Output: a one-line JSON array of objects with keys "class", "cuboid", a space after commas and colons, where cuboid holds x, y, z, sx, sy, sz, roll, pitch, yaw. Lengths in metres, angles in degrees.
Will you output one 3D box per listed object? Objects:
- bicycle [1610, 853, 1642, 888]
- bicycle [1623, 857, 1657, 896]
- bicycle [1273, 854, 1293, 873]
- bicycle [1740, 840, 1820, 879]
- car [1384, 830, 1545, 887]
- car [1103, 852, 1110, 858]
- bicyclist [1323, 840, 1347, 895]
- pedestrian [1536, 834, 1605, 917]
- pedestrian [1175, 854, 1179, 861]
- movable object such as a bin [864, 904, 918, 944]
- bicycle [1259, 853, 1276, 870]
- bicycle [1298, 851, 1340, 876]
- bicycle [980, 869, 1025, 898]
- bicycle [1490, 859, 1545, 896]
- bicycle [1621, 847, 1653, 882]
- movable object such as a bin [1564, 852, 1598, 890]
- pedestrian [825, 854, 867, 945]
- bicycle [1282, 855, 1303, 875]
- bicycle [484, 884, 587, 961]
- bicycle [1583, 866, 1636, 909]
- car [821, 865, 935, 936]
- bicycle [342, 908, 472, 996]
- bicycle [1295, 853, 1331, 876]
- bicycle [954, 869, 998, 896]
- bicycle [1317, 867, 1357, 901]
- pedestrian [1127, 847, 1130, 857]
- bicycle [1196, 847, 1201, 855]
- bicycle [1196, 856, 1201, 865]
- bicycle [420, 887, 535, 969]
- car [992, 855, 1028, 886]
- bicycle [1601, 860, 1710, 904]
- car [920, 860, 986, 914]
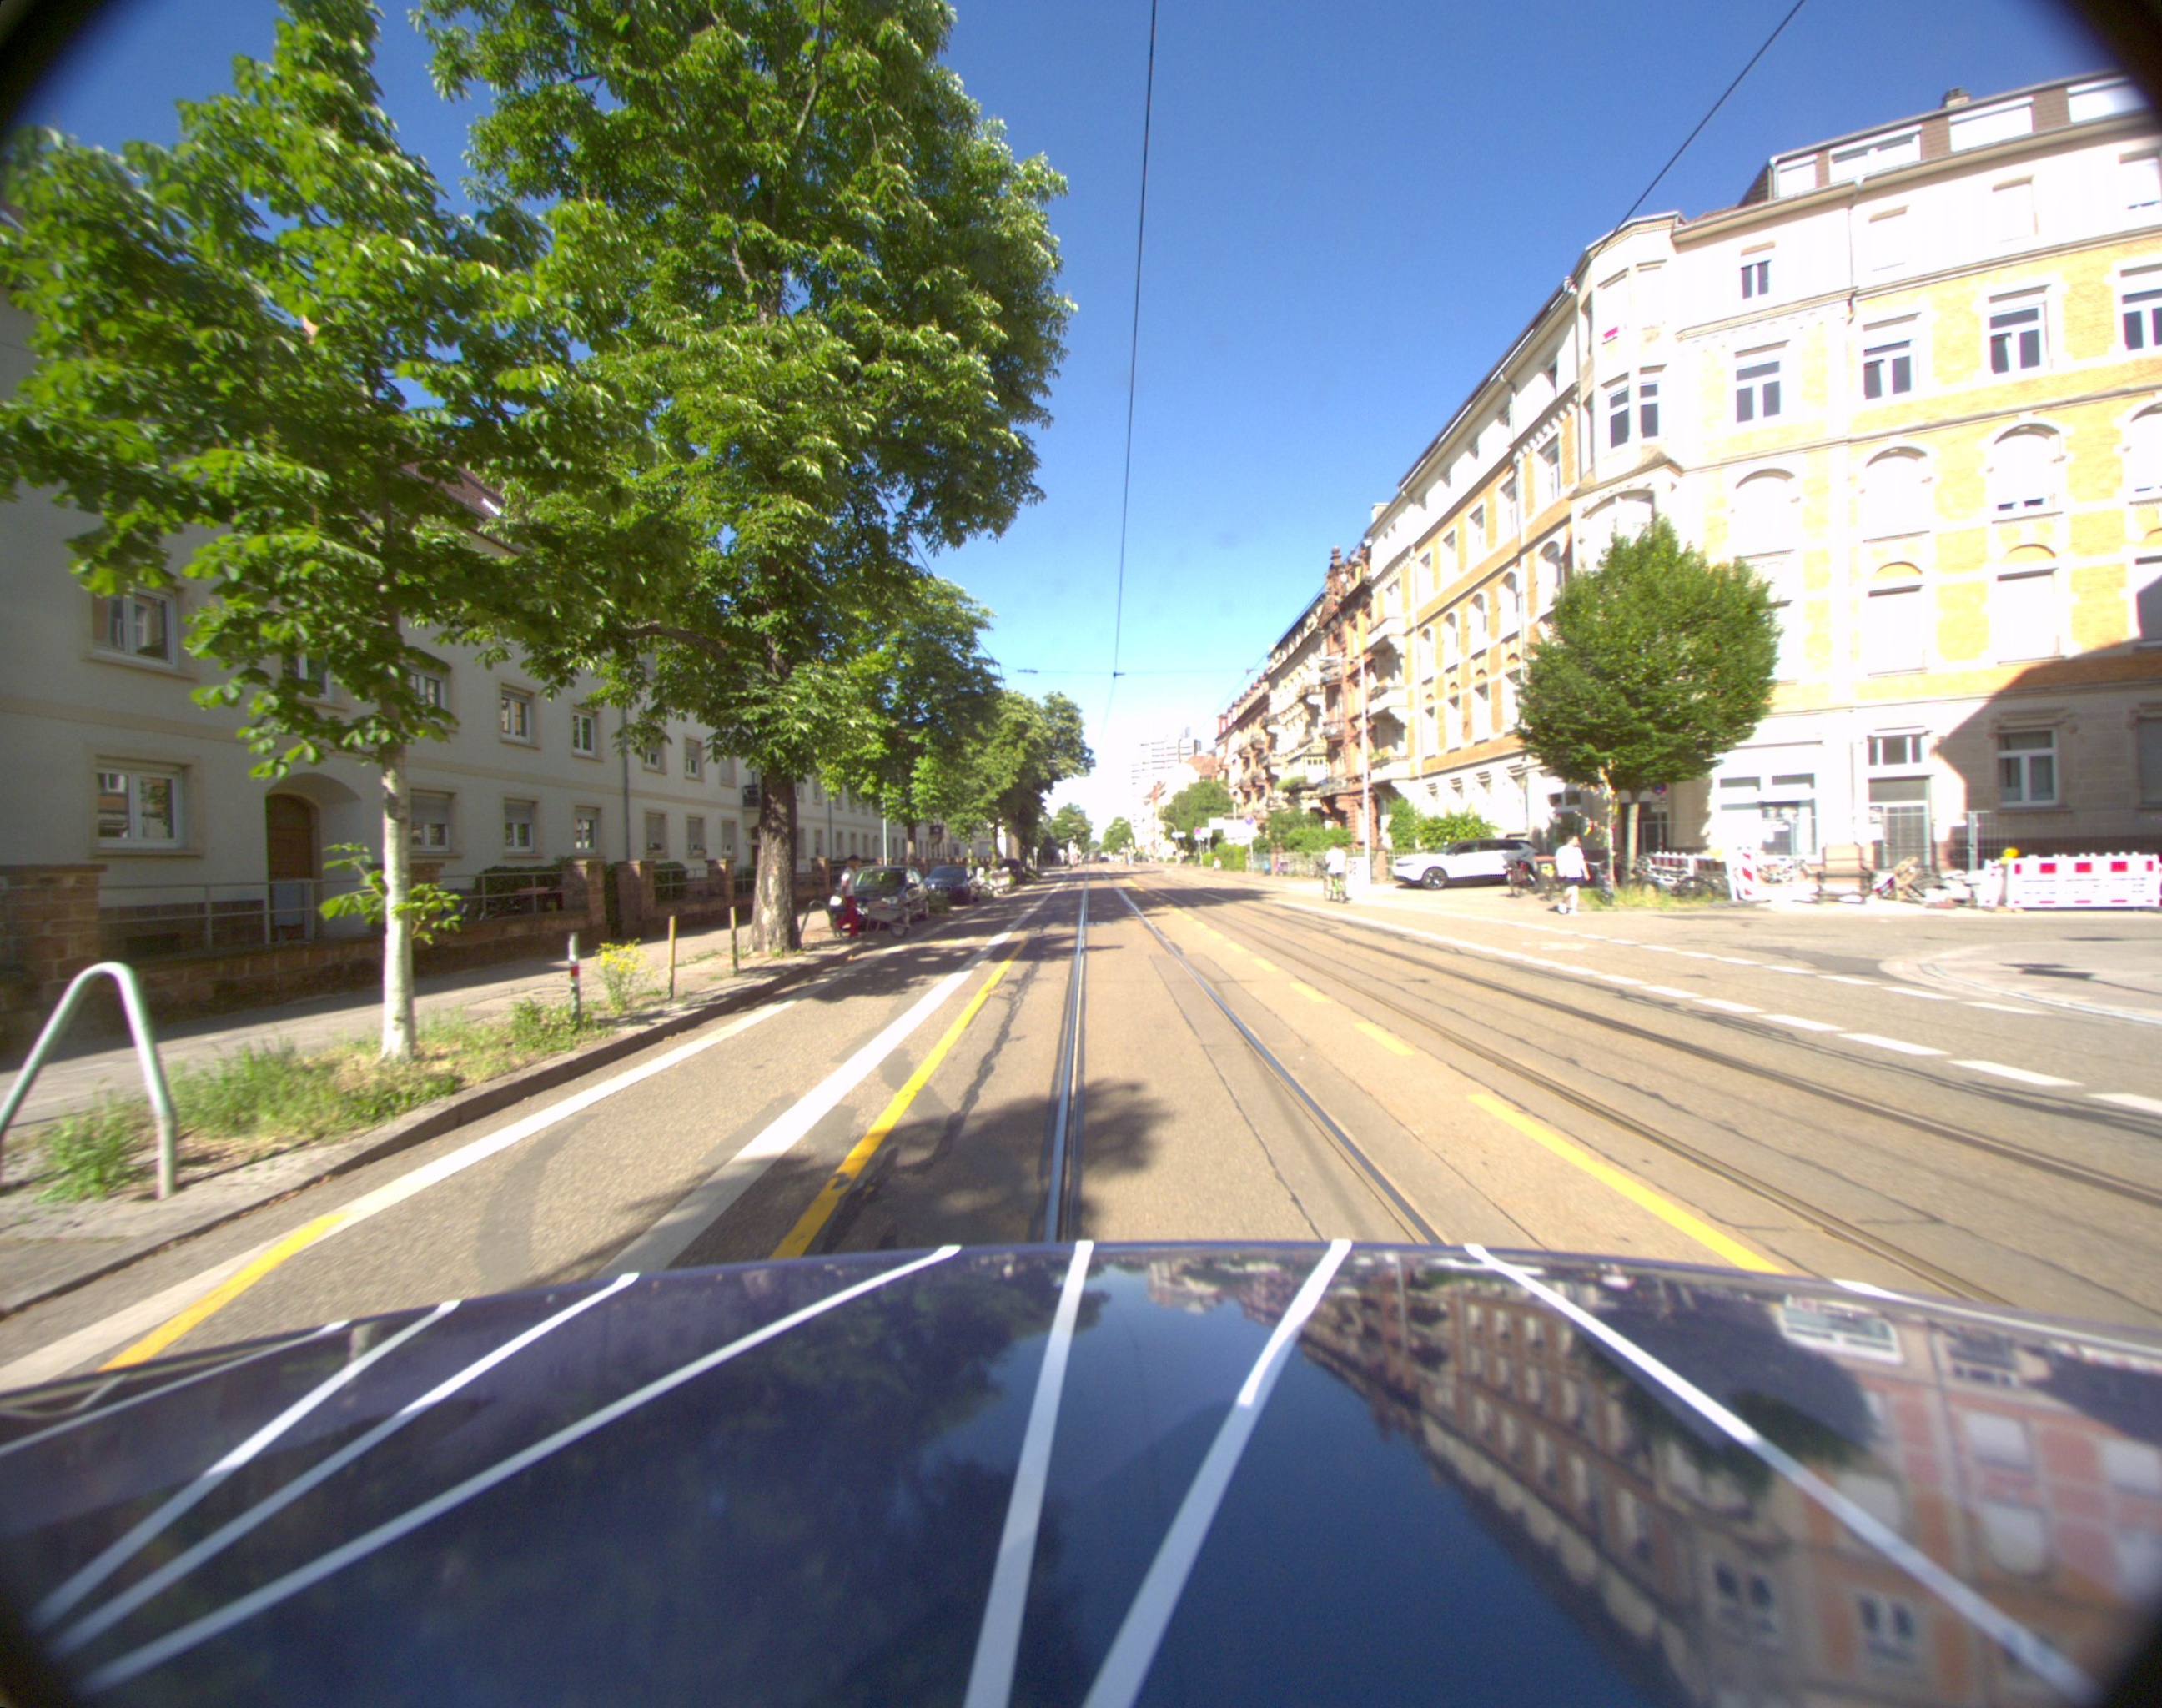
[{"class": "bicycle", "cuboid": [15.750, 0.463, 21.961, 1.545, 0.909, 0.246, -4, 3, -35]}, {"class": "bicycle", "cuboid": [14.292, 0.560, 19.416, 0.619, 0.909, 1.297, -1, 3, 39]}, {"class": "bicycle", "cuboid": [11.283, 0.535, 42.443, 0.564, 1.027, 1.767, -4, 0, 0]}, {"class": "bicycle", "cuboid": [20.133, 0.169, 21.920, 1.600, 1.031, 0.407, -3, -1, 25]}, {"class": "car", "cuboid": [13.071, 0.144, 26.103, 4.456, 1.634, 1.967, -3, 1, 3]}, {"class": "car", "cuboid": [7.507, 0.270, 221.566, 1.902, 1.608, 4.264, 0, 0, -1]}, {"class": "bicyclist", "cuboid": [7.530, 0.385, 22.516, 0.465, 1.609, 0.744, 0, 1, 1]}, {"class": "pedestrian", "cuboid": [10.670, 0.450, 16.590, 0.831, 1.714, 1.083, -3, 2, 8]}, {"class": "pedestrian", "cuboid": [17.451, 0.645, 138.271, 0.659, 1.274, 0.724, -3, 1, 1]}, {"class": "movable object such as a bin", "cuboid": [-3.955, 1.434, 15.778, 0.925, 0.739, 0.665, 1, 1, -30]}, {"class": "bicycle", "cuboid": [11.379, 0.464, 46.302, 0.564, 1.027, 1.768, -4, -1, 1]}, {"class": "bicycle", "cuboid": [10.965, 0.451, 35.047, 0.566, 1.027, 1.763, -3, -1, -36]}, {"class": "bicycle", "cuboid": [-3.318, 1.243, 32.078, 1.766, 1.071, 0.433, -3, 1, 2]}, {"class": "bicycle", "cuboid": [12.335, 0.652, 21.445, 1.791, 0.909, 0.619, -4, 2, -35]}, {"class": "bicycle", "cuboid": [15.905, 0.276, 21.707, 1.545, 0.909, 0.246, -4, 3, -35]}, {"class": "movable object such as a bin", "cuboid": [14.537, 0.495, 22.121, 0.577, 1.064, 0.717, -3, 1, 14]}, {"class": "pedestrian", "cuboid": [-4.769, 0.894, 15.398, 0.602, 1.760, 0.911, 0, 0, -30]}, {"class": "bicycle", "cuboid": [11.269, 0.568, 40.464, 0.564, 1.027, 1.767, -4, 0, 0]}, {"class": "bicycle", "cuboid": [-9.724, 1.188, 13.627, 0.544, 1.213, 1.741, -1, 0, 1]}, {"class": "bicycle", "cuboid": [12.490, 0.774, 17.943, 1.297, 0.909, 0.619, -4, 2, -35]}, {"class": "car", "cuboid": [-4.866, 1.055, 18.834, 1.724, 1.465, 4.245, -1, 0, -1]}, {"class": "bicycle", "cuboid": [-11.050, 1.563, 12.540, 0.544, 1.213, 1.741, -1, 0, 1]}, {"class": "bicycle", "cuboid": [11.169, 0.532, 36.676, 0.565, 1.027, 1.764, -6, 0, -24]}, {"class": "bicycle", "cuboid": [-4.483, 1.218, 32.560, 1.766, 1.071, 0.433, -3, 1, 2]}, {"class": "bicycle", "cuboid": [7.541, 0.858, 22.476, 0.461, 0.920, 2.202, -1, 0, 1]}, {"class": "pedestrian", "cuboid": [8.309, -0.296, 132.701, 0.466, 1.774, 0.673, -2, 1, 0]}, {"class": "bicycle", "cuboid": [13.480, -0.385, 87.042, 0.342, 0.920, 1.943, -3, 0, 5]}, {"class": "bicycle", "cuboid": [12.645, 0.687, 81.559, 0.342, 0.920, 1.943, -3, 0, 5]}, {"class": "bicycle", "cuboid": [-10.275, 1.221, 13.021, 0.544, 1.213, 1.741, -1, 0, 1]}, {"class": "car", "cuboid": [-4.407, 1.010, 47.636, 1.748, 1.755, 4.477, -3, 0, 0]}, {"class": "bicycle", "cuboid": [13.683, 0.657, 18.167, 0.581, 0.970, 1.983, -4, 1, -34]}, {"class": "car", "cuboid": [-4.663, 1.154, 28.181, 1.670, 1.750, 4.231, -2, 0, 0]}]
